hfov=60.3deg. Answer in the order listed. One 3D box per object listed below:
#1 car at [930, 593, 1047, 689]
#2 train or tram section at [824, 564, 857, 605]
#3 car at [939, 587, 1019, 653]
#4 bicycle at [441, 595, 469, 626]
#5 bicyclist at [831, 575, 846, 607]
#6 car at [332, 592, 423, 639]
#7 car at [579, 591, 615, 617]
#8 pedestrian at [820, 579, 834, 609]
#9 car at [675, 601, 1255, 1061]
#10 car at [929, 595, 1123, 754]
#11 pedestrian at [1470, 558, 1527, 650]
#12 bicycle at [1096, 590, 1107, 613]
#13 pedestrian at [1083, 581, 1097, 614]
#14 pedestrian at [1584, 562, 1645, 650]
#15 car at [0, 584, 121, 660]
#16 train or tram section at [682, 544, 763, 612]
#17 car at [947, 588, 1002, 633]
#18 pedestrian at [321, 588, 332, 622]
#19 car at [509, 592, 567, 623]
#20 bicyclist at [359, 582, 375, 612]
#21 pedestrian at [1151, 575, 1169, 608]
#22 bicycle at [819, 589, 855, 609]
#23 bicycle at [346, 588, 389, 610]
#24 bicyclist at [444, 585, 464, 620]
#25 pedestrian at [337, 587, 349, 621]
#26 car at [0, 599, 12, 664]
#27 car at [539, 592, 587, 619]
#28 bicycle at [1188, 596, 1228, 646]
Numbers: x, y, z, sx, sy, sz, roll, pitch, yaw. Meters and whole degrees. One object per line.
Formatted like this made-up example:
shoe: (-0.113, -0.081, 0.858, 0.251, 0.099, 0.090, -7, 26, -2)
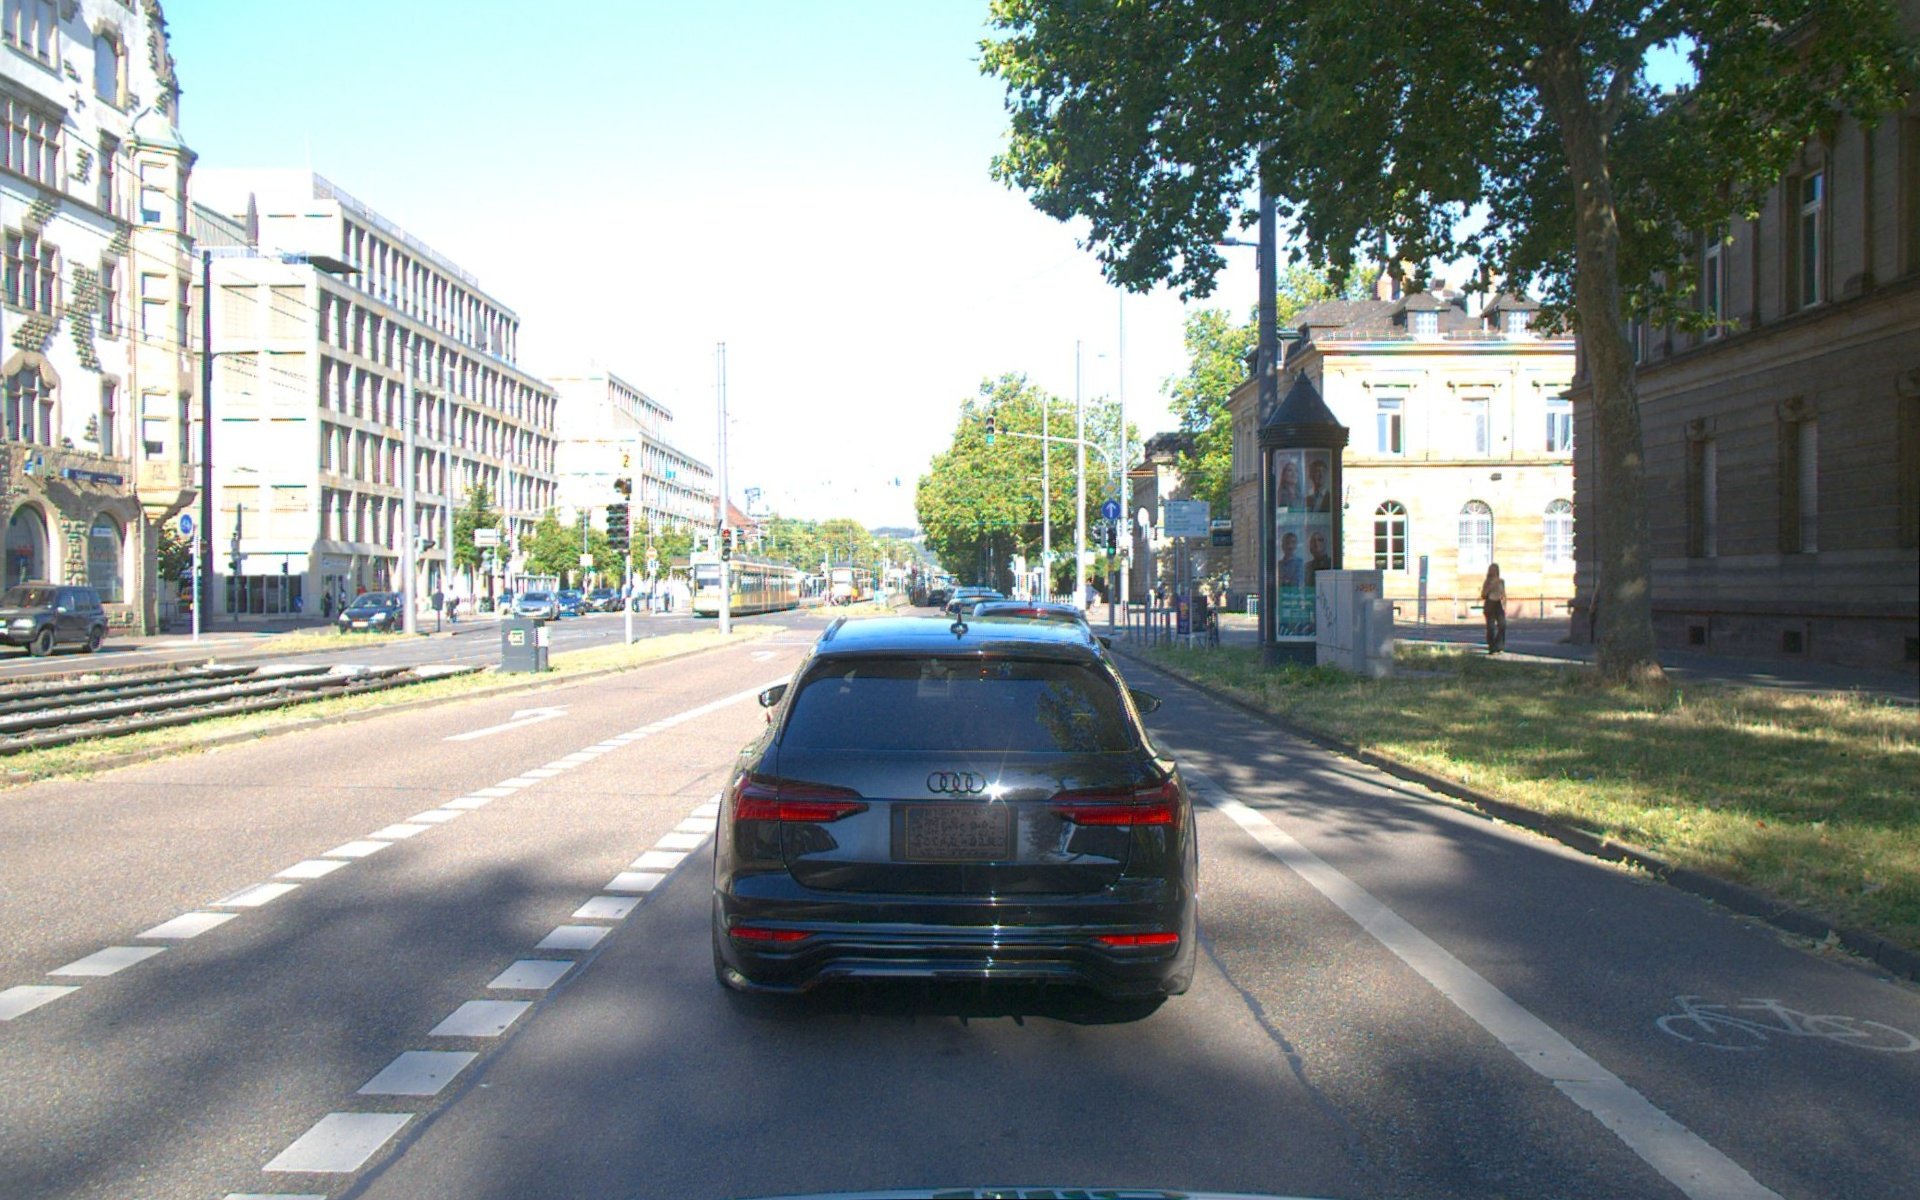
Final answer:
car: (0.464, 0.649, 28.517, 1.863, 1.512, 4.144, 1, 0, 0)
train or tram section: (-10.725, -1.419, 149.532, 2.556, 3.511, 11.128, -1, 1, -2)
car: (0.443, 0.449, 40.555, 1.863, 1.512, 4.144, 1, 0, 0)
bicycle: (-23.731, 0.499, 77.684, 0.671, 1.406, 1.947, -1, 0, 1)
bicyclist: (-7.107, -0.545, 96.954, 0.744, 1.850, 0.761, -1, 0, -16)
car: (-19.594, 0.493, 55.782, 1.784, 1.482, 4.163, -1, 0, -3)
car: (-27.016, 0.261, 123.257, 1.804, 1.844, 4.112, -1, 0, -1)
pedestrian: (-7.932, -0.352, 98.366, 0.727, 1.772, 0.661, -1, 0, -14)
car: (0.022, 0.748, 7.415, 1.863, 1.446, 4.144, 1, 0, 0)
car: (0.647, 0.715, 18.054, 1.863, 1.512, 4.144, 1, 0, 0)
pedestrian: (10.347, 0.076, 31.800, 0.753, 1.739, 1.042, -1, 0, 1)
bicycle: (7.419, 0.078, 86.619, 0.426, 1.165, 1.340, -1, 0, -2)
pedestrian: (6.806, -0.132, 86.584, 0.668, 1.689, 0.758, -1, 0, -2)
pedestrian: (12.480, 0.109, 31.565, 0.753, 1.634, 0.986, -1, 0, 1)
car: (-22.434, 0.488, 40.529, 1.682, 1.704, 4.215, 2, 1, -2)
train or tram section: (-13.321, -1.200, 93.905, 2.755, 3.550, 13.203, -1, 0, 0)
car: (0.513, 0.355, 58.340, 1.863, 1.512, 4.144, 1, 0, 0)
pedestrian: (-35.003, 0.286, 91.416, 0.468, 1.876, 0.437, -1, 0, -38)
car: (-20.705, 0.348, 81.315, 1.783, 1.482, 4.539, -1, 0, -1)
bicyclist: (-33.878, -0.179, 94.415, 0.566, 1.715, 0.640, -1, 0, 38)
pedestrian: (11.712, -0.488, 96.890, 0.959, 1.898, 0.827, -1, 0, 0)
bicycle: (-7.231, -0.043, 96.931, 1.973, 1.127, 0.761, -1, 0, -17)
bicycle: (-33.834, -0.057, 94.490, 0.566, 1.236, 2.378, -1, 0, 38)
bicyclist: (-23.740, 0.112, 77.593, 0.671, 1.590, 0.785, -1, 0, 1)
pedestrian: (-34.240, 0.239, 91.762, 0.527, 1.876, 0.437, -1, 0, -38)
car: (-22.321, 0.710, 35.199, 1.682, 1.448, 4.654, 2, 1, -2)
car: (-22.558, 0.305, 94.084, 1.783, 1.482, 4.156, -1, 0, -1)
bicycle: (5.649, 0.465, 37.811, 0.529, 1.080, 1.770, -1, 0, -4)
